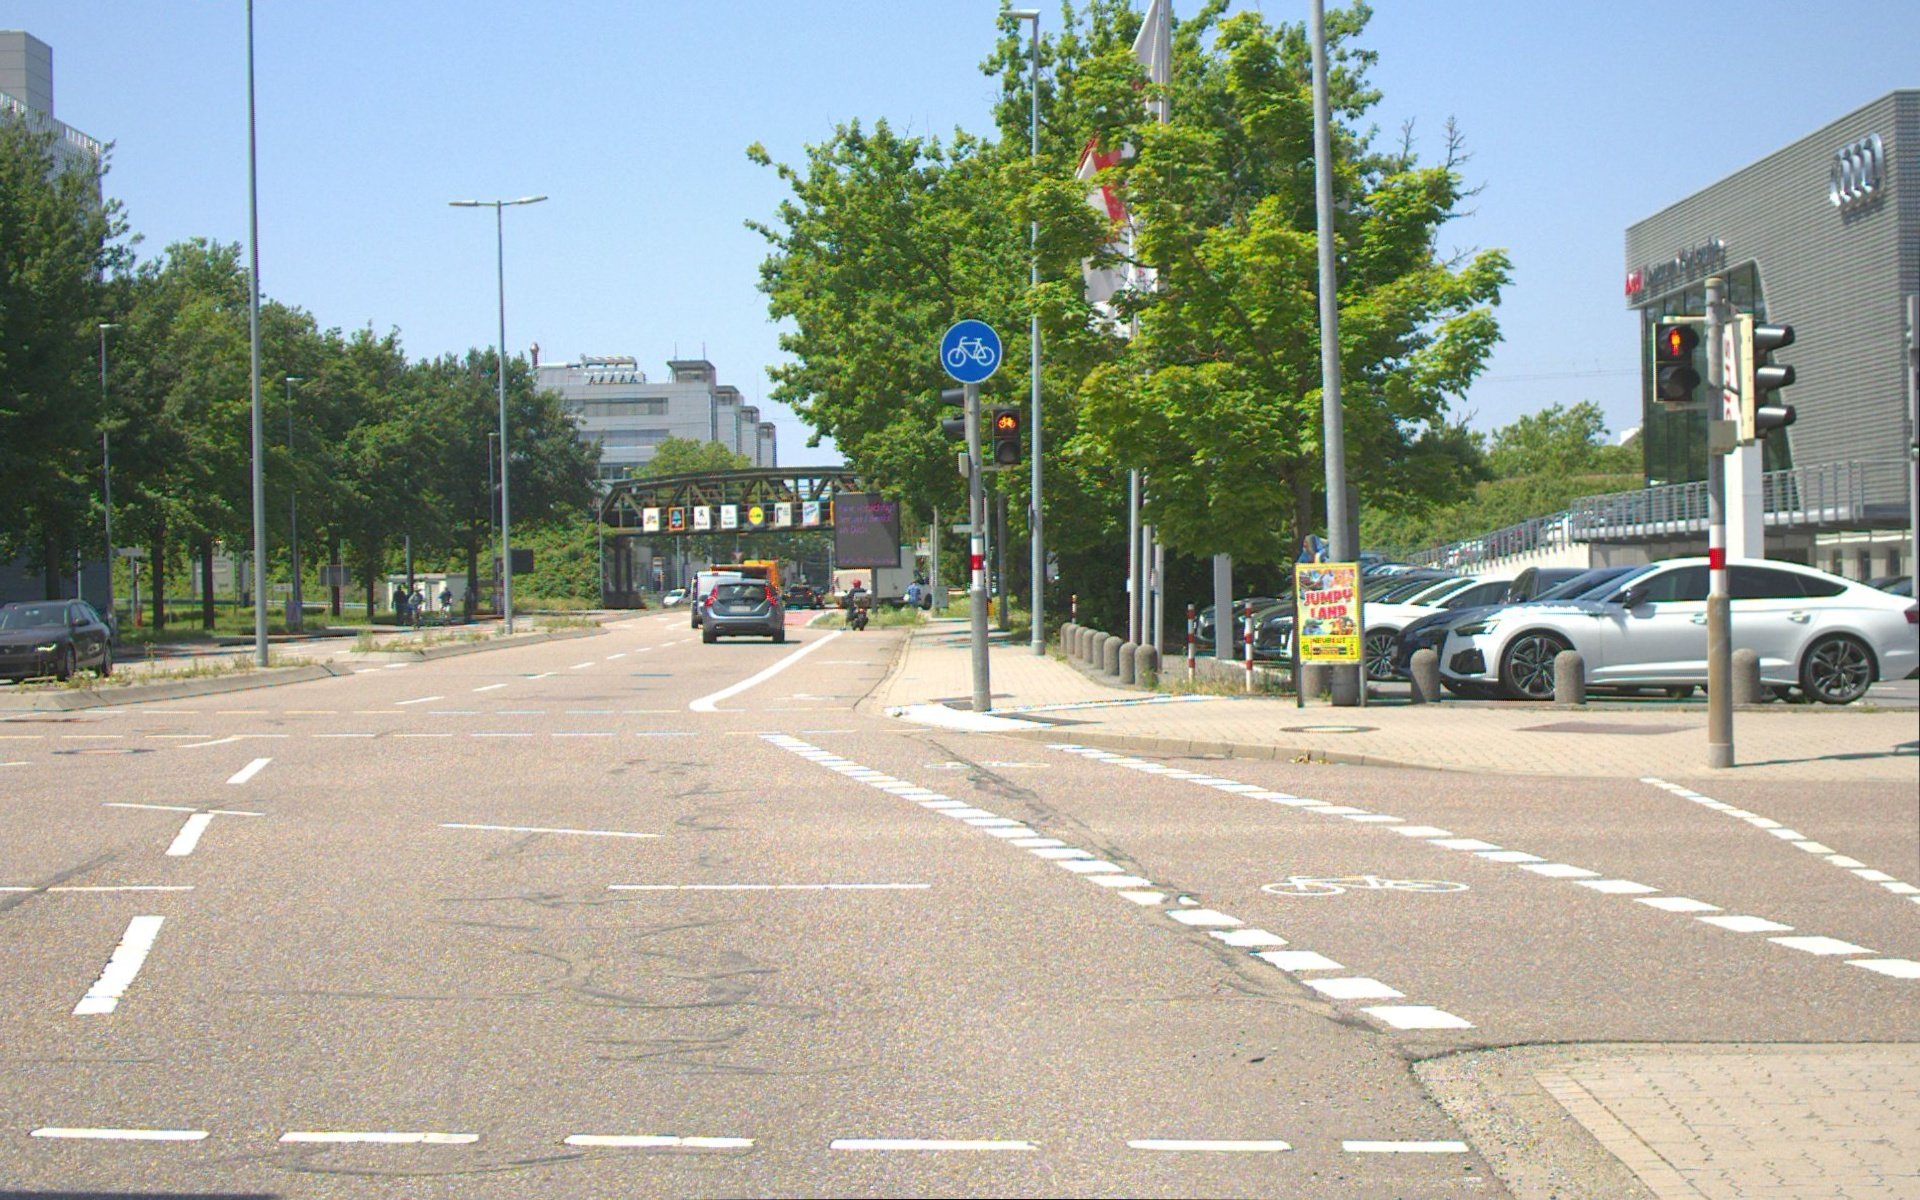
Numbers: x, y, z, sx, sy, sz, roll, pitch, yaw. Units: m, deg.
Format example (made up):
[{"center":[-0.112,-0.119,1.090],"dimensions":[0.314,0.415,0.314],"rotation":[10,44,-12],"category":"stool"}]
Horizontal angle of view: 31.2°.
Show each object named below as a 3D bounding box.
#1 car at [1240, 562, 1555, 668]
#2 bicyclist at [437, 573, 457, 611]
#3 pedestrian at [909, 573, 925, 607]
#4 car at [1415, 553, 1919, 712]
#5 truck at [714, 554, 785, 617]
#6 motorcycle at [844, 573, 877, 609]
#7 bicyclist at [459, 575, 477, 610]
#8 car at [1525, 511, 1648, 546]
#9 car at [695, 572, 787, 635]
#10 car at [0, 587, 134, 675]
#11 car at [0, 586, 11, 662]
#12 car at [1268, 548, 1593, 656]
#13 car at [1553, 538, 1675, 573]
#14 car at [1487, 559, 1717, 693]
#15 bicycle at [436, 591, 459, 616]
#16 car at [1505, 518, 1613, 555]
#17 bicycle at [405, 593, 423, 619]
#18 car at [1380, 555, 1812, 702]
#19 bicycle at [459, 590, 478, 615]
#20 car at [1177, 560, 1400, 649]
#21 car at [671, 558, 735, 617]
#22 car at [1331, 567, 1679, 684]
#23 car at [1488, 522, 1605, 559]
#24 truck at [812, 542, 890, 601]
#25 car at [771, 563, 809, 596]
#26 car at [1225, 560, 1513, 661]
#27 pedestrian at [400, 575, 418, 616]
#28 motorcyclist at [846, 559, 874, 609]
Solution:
[{"center":[6.227,0.201,49.279],"dimensions":[4.226,1.385,1.869],"rotation":[1,0,0],"category":"car"},{"center":[-22.867,-0.374,153.289],"dimensions":[0.745,1.680,0.952],"rotation":[-1,0,-2],"category":"bicyclist"},{"center":[-1.765,-0.404,139.665],"dimensions":[0.623,1.370,0.564],"rotation":[-1,0,-2],"category":"pedestrian"},{"center":[6.833,0.301,33.267],"dimensions":[4.592,1.385,1.869],"rotation":[1,0,1],"category":"car"},{"center":[-8.370,-0.589,137.189],"dimensions":[2.458,2.402,7.134],"rotation":[1,1,-1],"category":"truck"},{"center":[-3.073,-0.272,105.941],"dimensions":[0.716,1.101,1.831],"rotation":[1,0,-10],"category":"motorcycle"},{"center":[-23.602,-0.360,164.866],"dimensions":[0.633,1.623,1.045],"rotation":[-3,0,-1],"category":"bicyclist"},{"center":[22.023,-2.502,120.860],"dimensions":[3.938,1.207,1.718],"rotation":[0,0,-5],"category":"car"},{"center":[-5.002,0.070,78.978],"dimensions":[1.900,1.371,4.232],"rotation":[-1,0,-1],"category":"car"},{"center":[-16.022,0.537,60.301],"dimensions":[1.726,1.441,4.719],"rotation":[-3,0,2],"category":"car"},{"center":[-19.478,0.485,65.387],"dimensions":[1.743,1.481,4.000],"rotation":[-2,0,-1],"category":"car"},{"center":[6.315,0.021,46.494],"dimensions":[4.099,1.344,1.869],"rotation":[1,0,0],"category":"car"},{"center":[22.047,-1.494,115.963],"dimensions":[3.724,1.127,1.684],"rotation":[1,0,-5],"category":"car"},{"center":[7.354,0.276,39.800],"dimensions":[1.863,1.415,4.662],"rotation":[1,0,1],"category":"car"},{"center":[-22.862,0.153,153.416],"dimensions":[0.739,1.121,2.435],"rotation":[-1,0,-2],"category":"bicycle"},{"center":[21.779,-2.305,125.044],"dimensions":[3.523,1.235,1.677],"rotation":[1,0,-5],"category":"car"},{"center":[-23.829,0.256,150.124],"dimensions":[0.637,1.130,1.971],"rotation":[-1,0,-6],"category":"bicycle"},{"center":[6.545,0.285,35.684],"dimensions":[4.096,1.385,1.869],"rotation":[1,0,0],"category":"car"},{"center":[-23.583,0.127,164.954],"dimensions":[0.629,1.155,2.117],"rotation":[-3,0,-1],"category":"bicycle"},{"center":[5.734,0.073,60.335],"dimensions":[3.681,1.448,1.834],"rotation":[1,0,0],"category":"car"},{"center":[-8.962,-0.442,120.269],"dimensions":[1.993,2.007,4.000],"rotation":[-1,0,-1],"category":"car"},{"center":[6.880,0.311,43.696],"dimensions":[4.096,1.360,1.874],"rotation":[1,0,0],"category":"car"},{"center":[22.051,-2.236,129.320],"dimensions":[3.986,1.307,1.798],"rotation":[1,0,-5],"category":"car"},{"center":[-5.350,-1.389,169.575],"dimensions":[2.616,2.841,5.612],"rotation":[1,1,11],"category":"truck"},{"center":[-10.724,-1.279,217.204],"dimensions":[1.994,2.007,4.000],"rotation":[-2,0,2],"category":"car"},{"center":[6.168,0.152,52.168],"dimensions":[4.101,1.400,1.869],"rotation":[1,0,0],"category":"car"},{"center":[-25.787,-0.203,160.906],"dimensions":[0.743,1.878,0.577],"rotation":[-1,0,0],"category":"pedestrian"},{"center":[-3.084,-0.487,106.025],"dimensions":[0.719,1.524,0.871],"rotation":[1,0,-10],"category":"motorcyclist"}]
